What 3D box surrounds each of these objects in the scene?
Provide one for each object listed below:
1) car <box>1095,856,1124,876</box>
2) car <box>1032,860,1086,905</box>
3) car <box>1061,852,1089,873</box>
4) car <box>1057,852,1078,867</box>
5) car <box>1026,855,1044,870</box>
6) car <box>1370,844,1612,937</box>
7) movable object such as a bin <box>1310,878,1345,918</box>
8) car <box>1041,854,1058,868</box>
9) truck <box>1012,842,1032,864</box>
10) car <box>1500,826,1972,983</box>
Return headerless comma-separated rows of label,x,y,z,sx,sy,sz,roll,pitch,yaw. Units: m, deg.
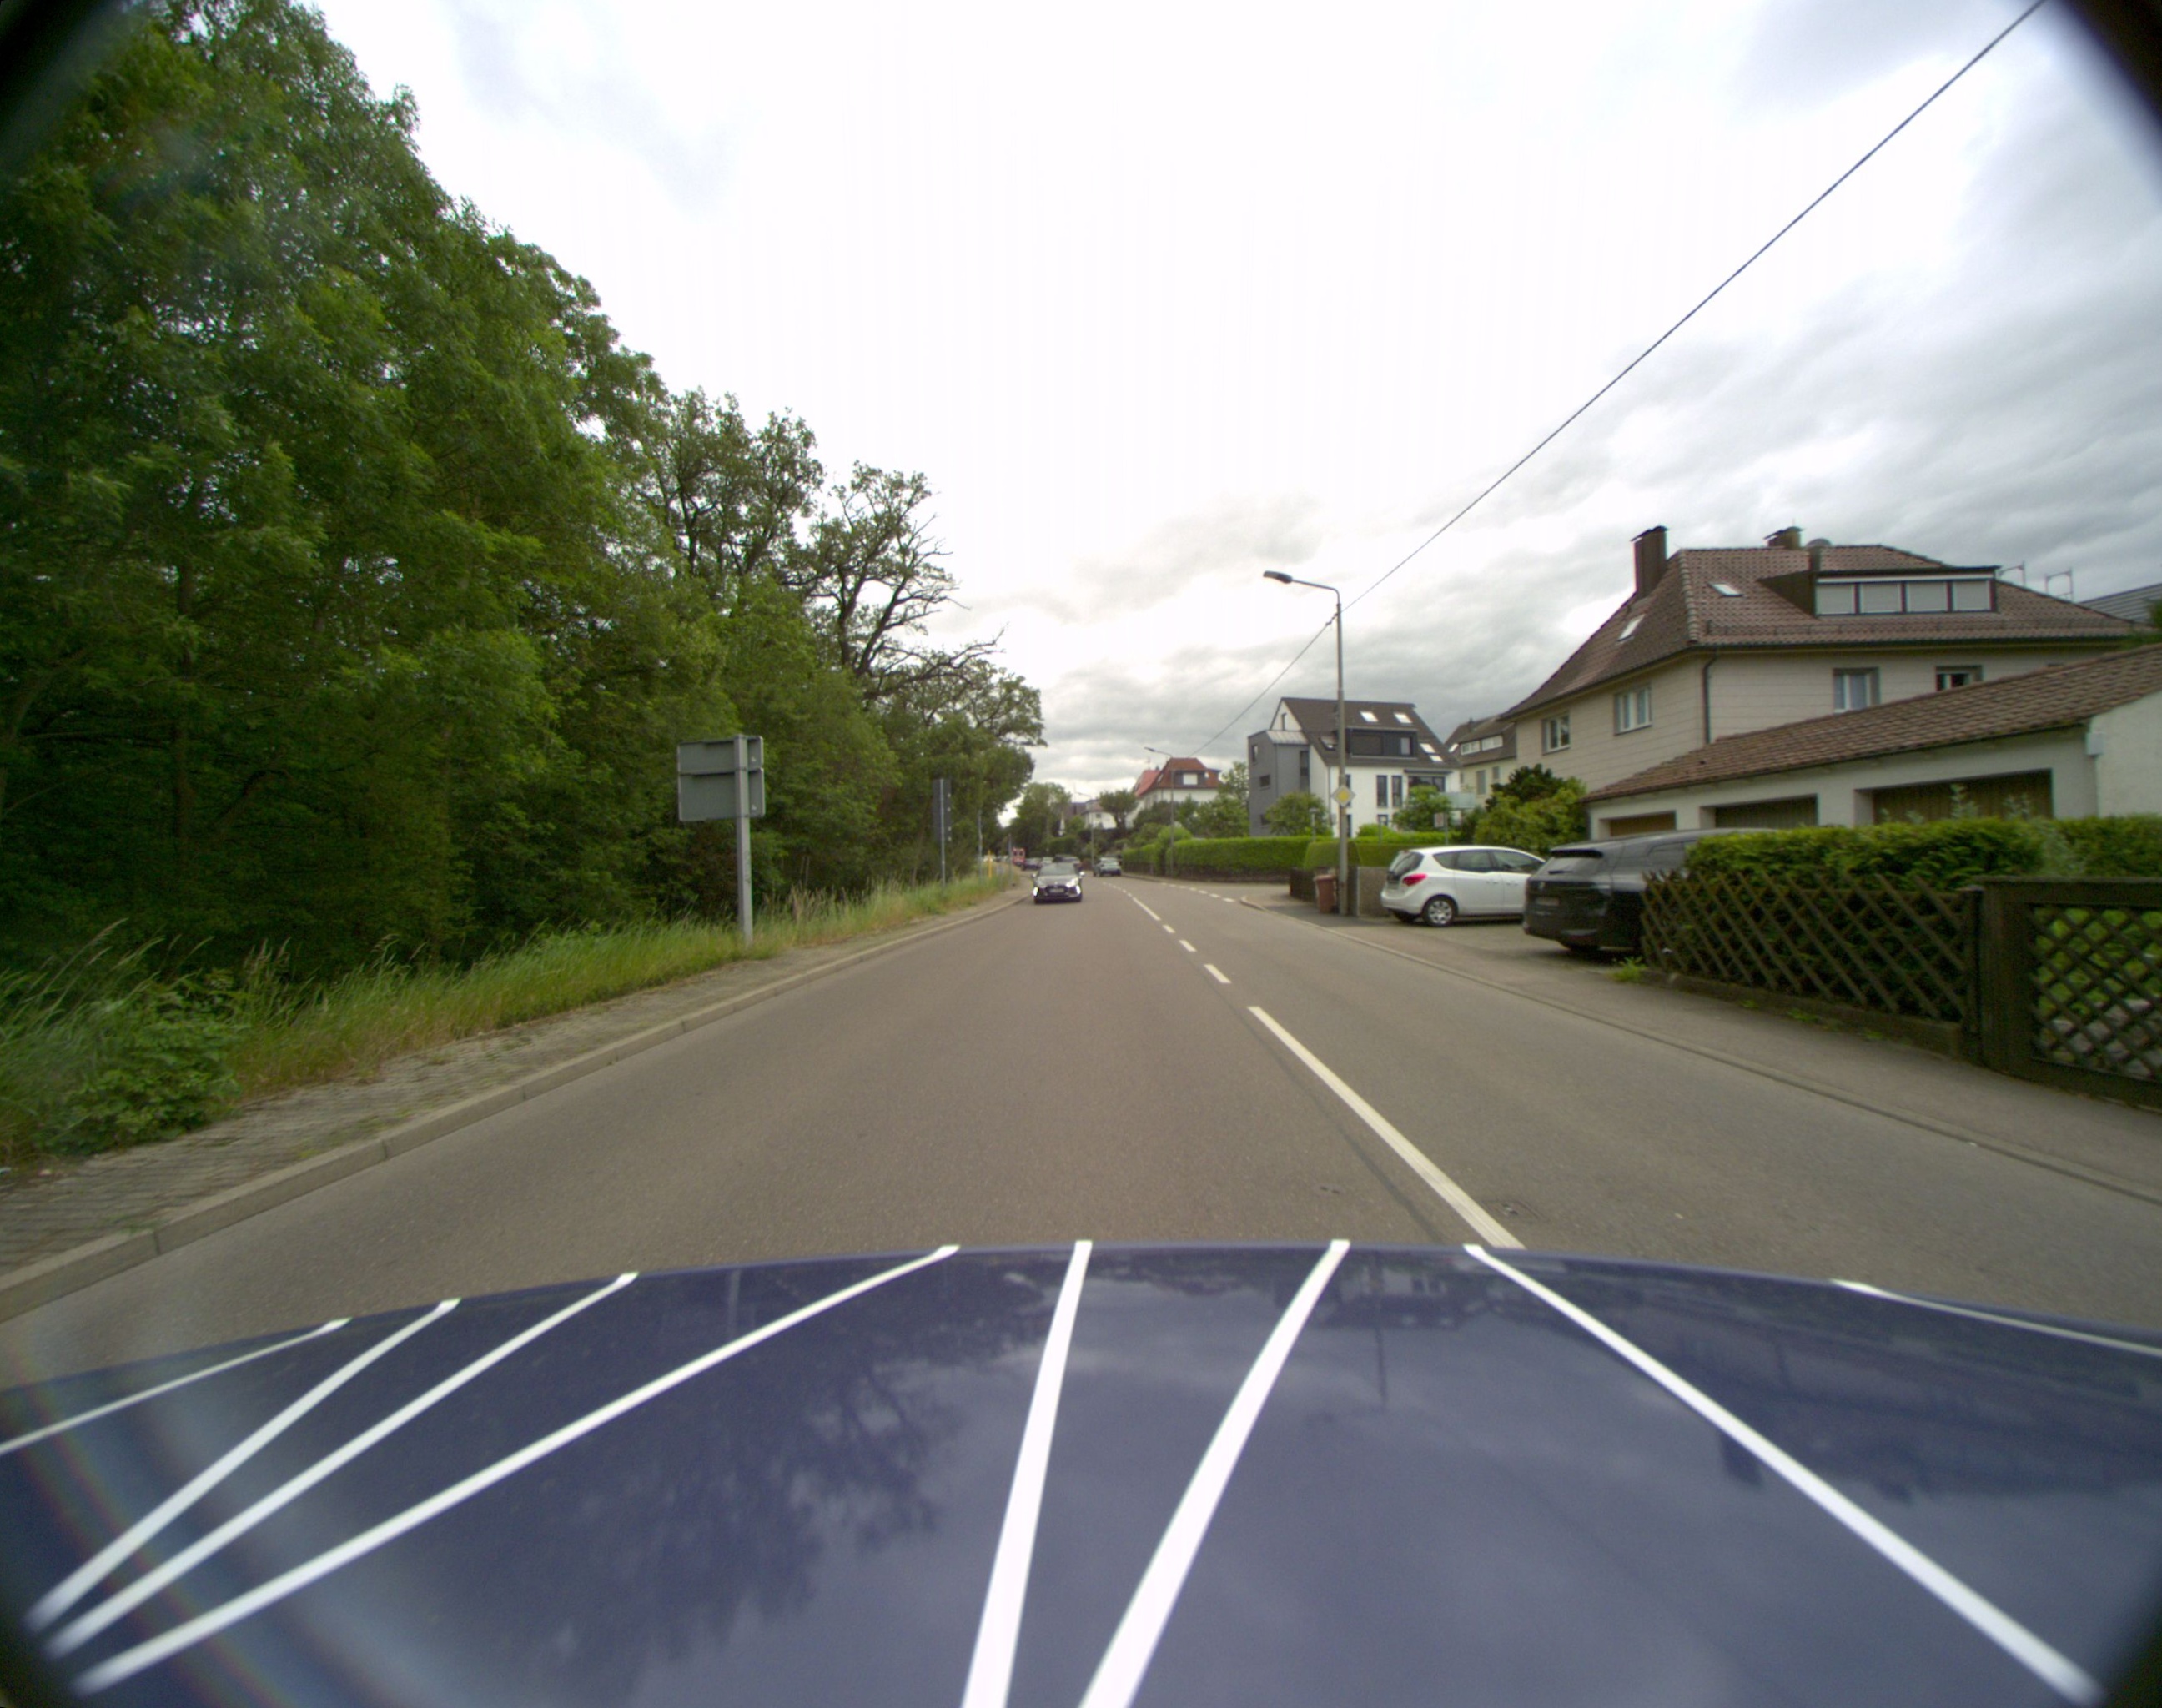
car,2.238,0.935,61.243,1.840,1.514,3.998,-1,0,-5
car,-0.757,1.016,28.554,1.730,1.449,3.855,-2,0,2
car,-0.540,0.659,63.078,1.819,1.590,3.953,-2,0,-8
car,-1.532,0.636,85.209,1.876,1.569,3.997,-1,0,-7
car,-5.597,1.007,91.794,1.999,1.749,3.998,-1,0,-5
car,8.312,0.712,15.661,3.997,1.584,1.718,-3,1,1
movable object such as a bin,6.111,1.086,18.834,0.689,0.948,0.572,-1,1,2
car,-4.140,0.872,98.528,1.833,1.665,3.996,-1,1,-7
truck,-10.412,-0.223,132.699,3.008,3.618,7.083,-1,0,-8
car,8.528,0.613,10.221,4.682,1.660,1.882,-3,0,0
